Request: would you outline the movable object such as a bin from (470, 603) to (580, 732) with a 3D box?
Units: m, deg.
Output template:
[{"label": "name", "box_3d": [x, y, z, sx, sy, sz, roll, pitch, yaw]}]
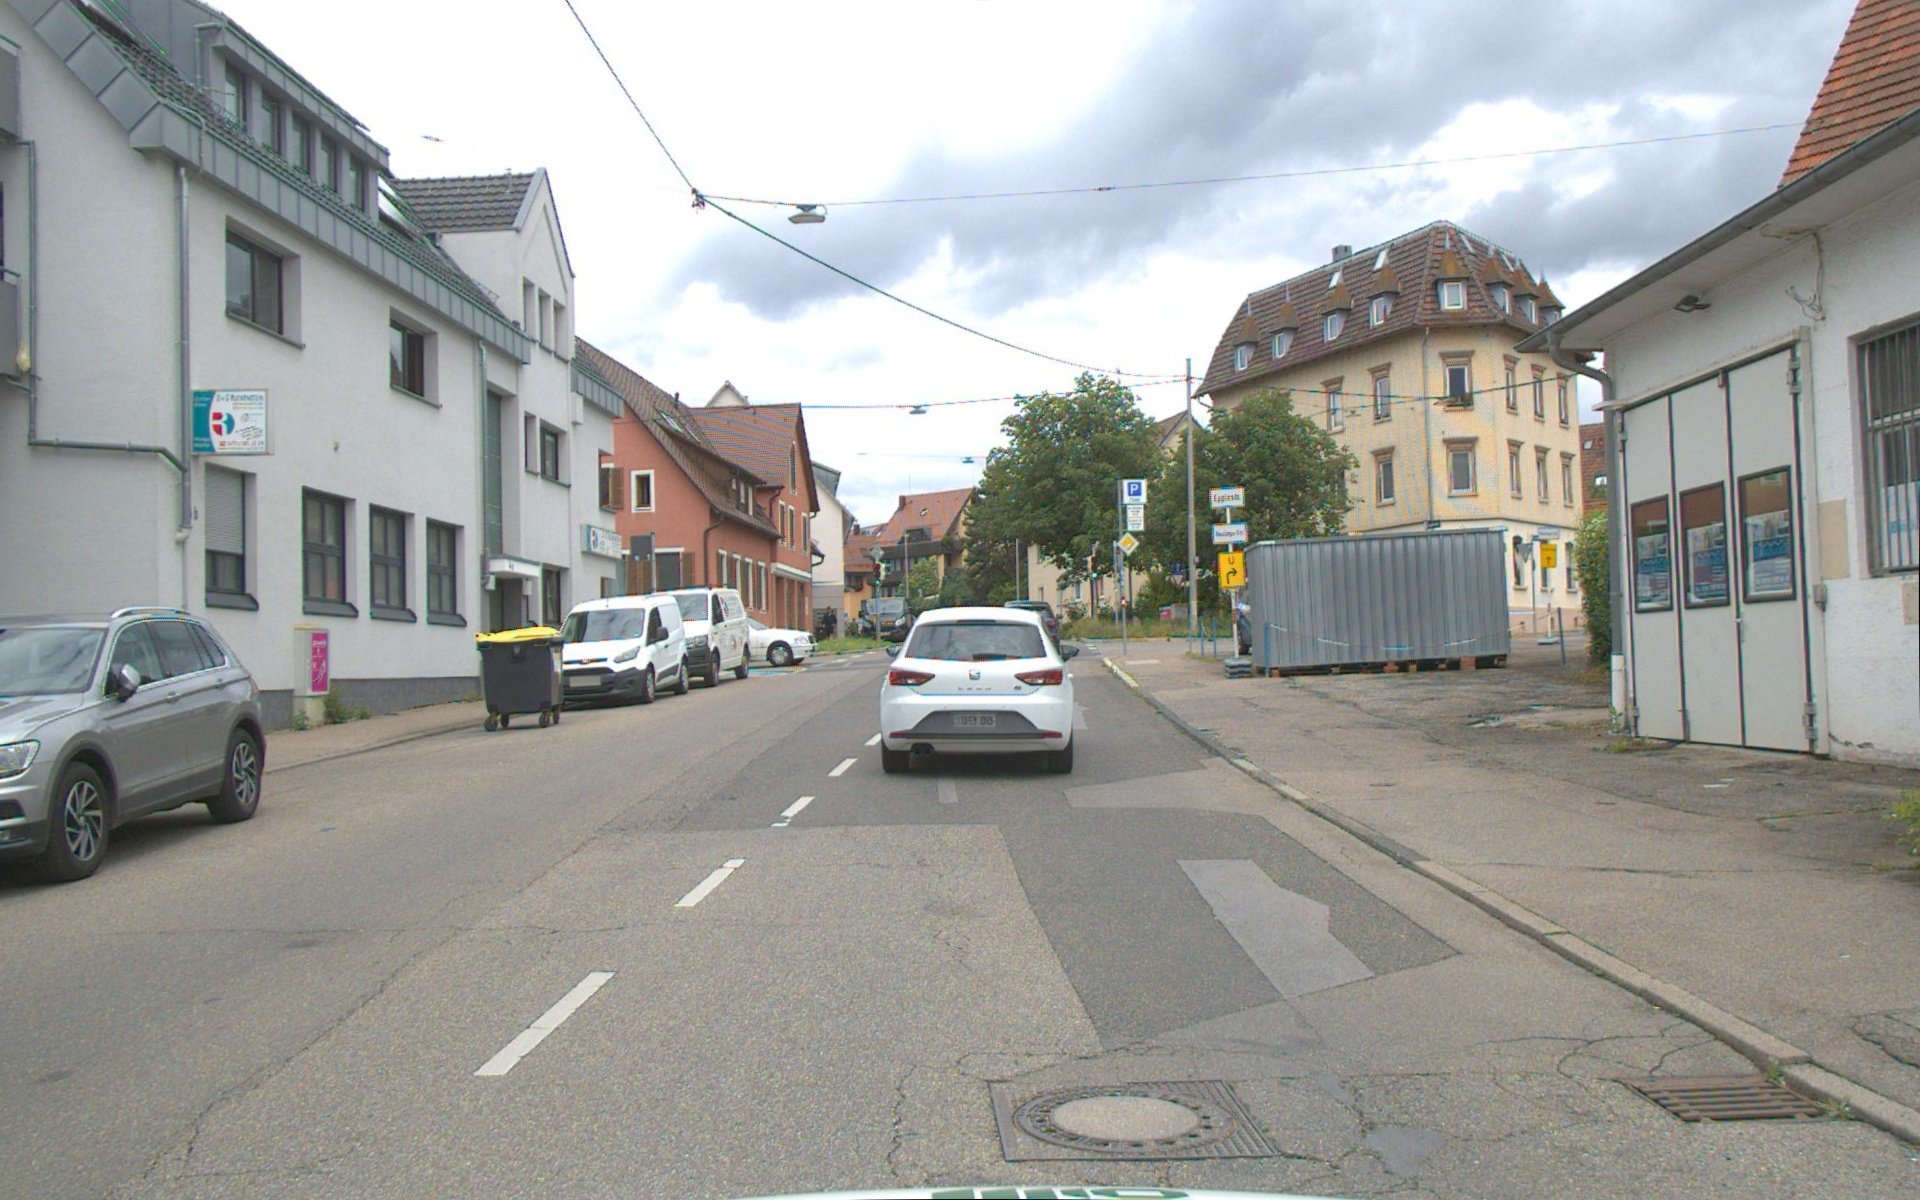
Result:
[{"label": "movable object such as a bin", "box_3d": [-6.002, 0.901, 22.914, 1.118, 1.661, 1.562, -3, 0, -4]}]

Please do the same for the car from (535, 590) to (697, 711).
[{"label": "car", "box_3d": [-5.908, 0.815, 28.904, 1.697, 1.863, 4.299, -3, 0, 2]}]

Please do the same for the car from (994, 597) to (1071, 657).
[{"label": "car", "box_3d": [1.884, 0.738, 43.947, 1.723, 1.477, 3.998, -1, -2, -2]}]

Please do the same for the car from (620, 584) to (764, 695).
[{"label": "car", "box_3d": [-5.486, 0.757, 34.450, 1.774, 2.040, 4.765, -3, 0, 4]}]

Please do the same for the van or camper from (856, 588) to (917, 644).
[{"label": "van or camper", "box_3d": [-3.019, 0.716, 68.914, 2.031, 2.041, 4.858, -3, -3, 2]}]

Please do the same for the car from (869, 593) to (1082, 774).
[{"label": "car", "box_3d": [0.276, 0.716, 15.873, 1.721, 1.477, 4.002, -1, -1, 5]}]

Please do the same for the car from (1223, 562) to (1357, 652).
[{"label": "car", "box_3d": [7.261, 0.145, 36.839, 1.712, 1.770, 4.568, -3, 0, -4]}]

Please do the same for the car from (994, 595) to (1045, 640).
[{"label": "car", "box_3d": [2.079, 0.629, 58.141, 1.722, 1.477, 4.000, -1, -2, 2]}]

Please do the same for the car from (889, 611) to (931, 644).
[{"label": "car", "box_3d": [-2.715, 1.483, 88.392, 1.959, 1.662, 4.852, -1, -1, -5]}]

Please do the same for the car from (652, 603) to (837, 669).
[{"label": "car", "box_3d": [-5.675, 0.942, 43.944, 4.457, 1.470, 2.001, -3, 0, 6]}]

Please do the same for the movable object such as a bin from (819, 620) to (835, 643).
[{"label": "movable object such as a bin", "box_3d": [-6.198, 1.461, 77.123, 0.652, 1.036, 0.795, -2, 0, -1]}]

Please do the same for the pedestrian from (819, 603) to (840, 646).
[{"label": "pedestrian", "box_3d": [-5.564, 1.054, 70.428, 0.784, 1.816, 0.893, -1, -1, 2]}]

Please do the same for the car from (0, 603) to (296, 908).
[{"label": "car", "box_3d": [-6.199, 0.899, 11.216, 1.801, 1.661, 4.405, -3, 0, -4]}]
